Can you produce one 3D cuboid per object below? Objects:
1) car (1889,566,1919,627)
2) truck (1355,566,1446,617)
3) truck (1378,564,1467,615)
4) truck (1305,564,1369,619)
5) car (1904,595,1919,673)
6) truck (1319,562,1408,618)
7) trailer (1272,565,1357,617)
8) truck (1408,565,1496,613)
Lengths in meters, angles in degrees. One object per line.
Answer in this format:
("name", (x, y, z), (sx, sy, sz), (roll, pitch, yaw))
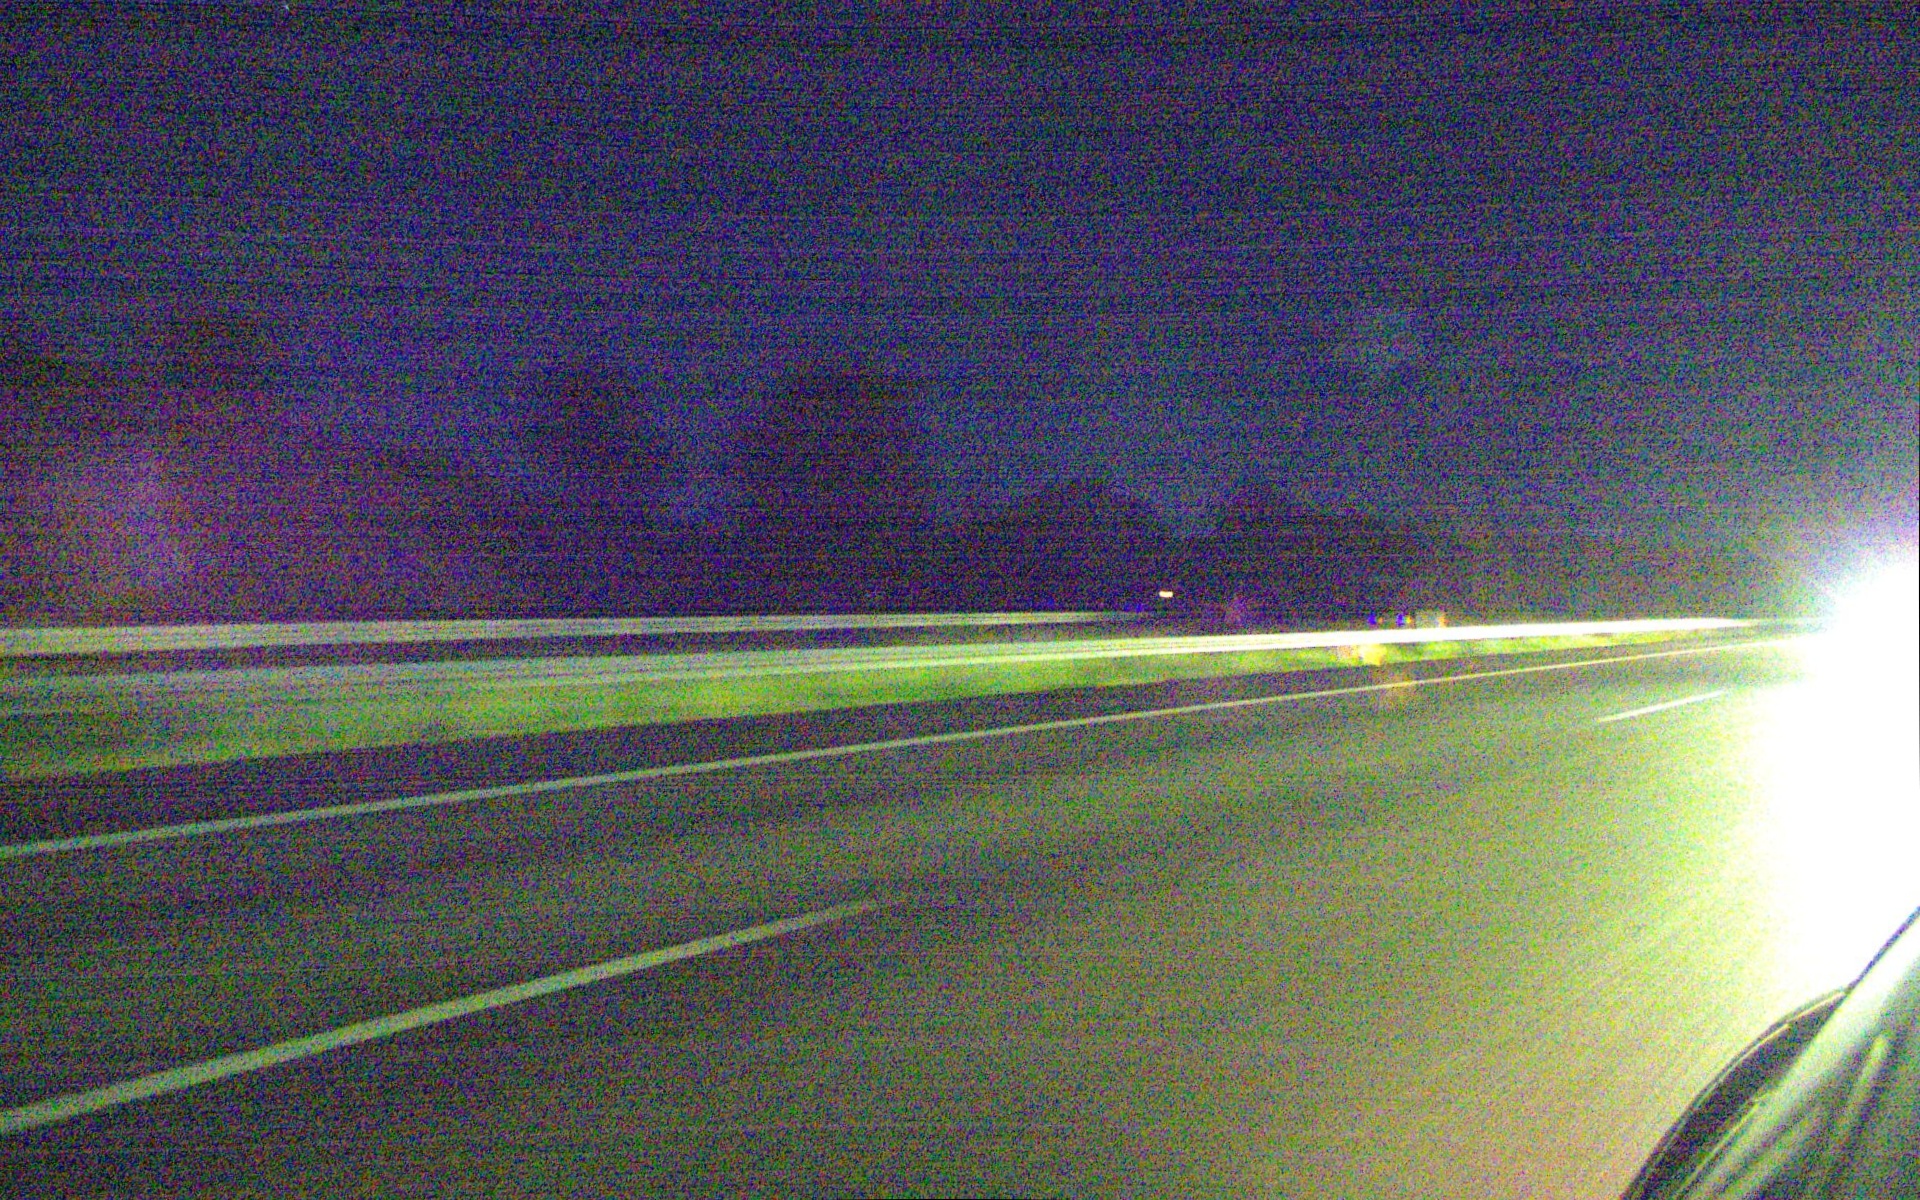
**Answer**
("car", (49.153, -0.189, 51.121), (6.117, 2.942, 2.532), (0, 0, -40))
("truck", (34.875, -0.671, 80.559), (3.002, 3.734, 9.661), (-1, 0, 1))
("truck", (38.644, -0.863, 85.031), (3.002, 3.974, 9.661), (-1, 0, 1))
("truck", (26.958, -0.593, 72.720), (2.487, 3.695, 6.205), (-1, 0, 3))
("car", (19.343, 0.611, 19.086), (3.929, 1.430, 1.832), (0, 0, -40))
("truck", (30.930, -0.721, 78.066), (3.002, 3.974, 9.661), (-1, 0, 1))
("trailer", (27.237, -0.660, 78.523), (2.496, 3.711, 12.988), (-1, 0, 3))
("truck", (42.801, -0.938, 88.475), (3.002, 3.974, 9.661), (-1, 0, 1))
